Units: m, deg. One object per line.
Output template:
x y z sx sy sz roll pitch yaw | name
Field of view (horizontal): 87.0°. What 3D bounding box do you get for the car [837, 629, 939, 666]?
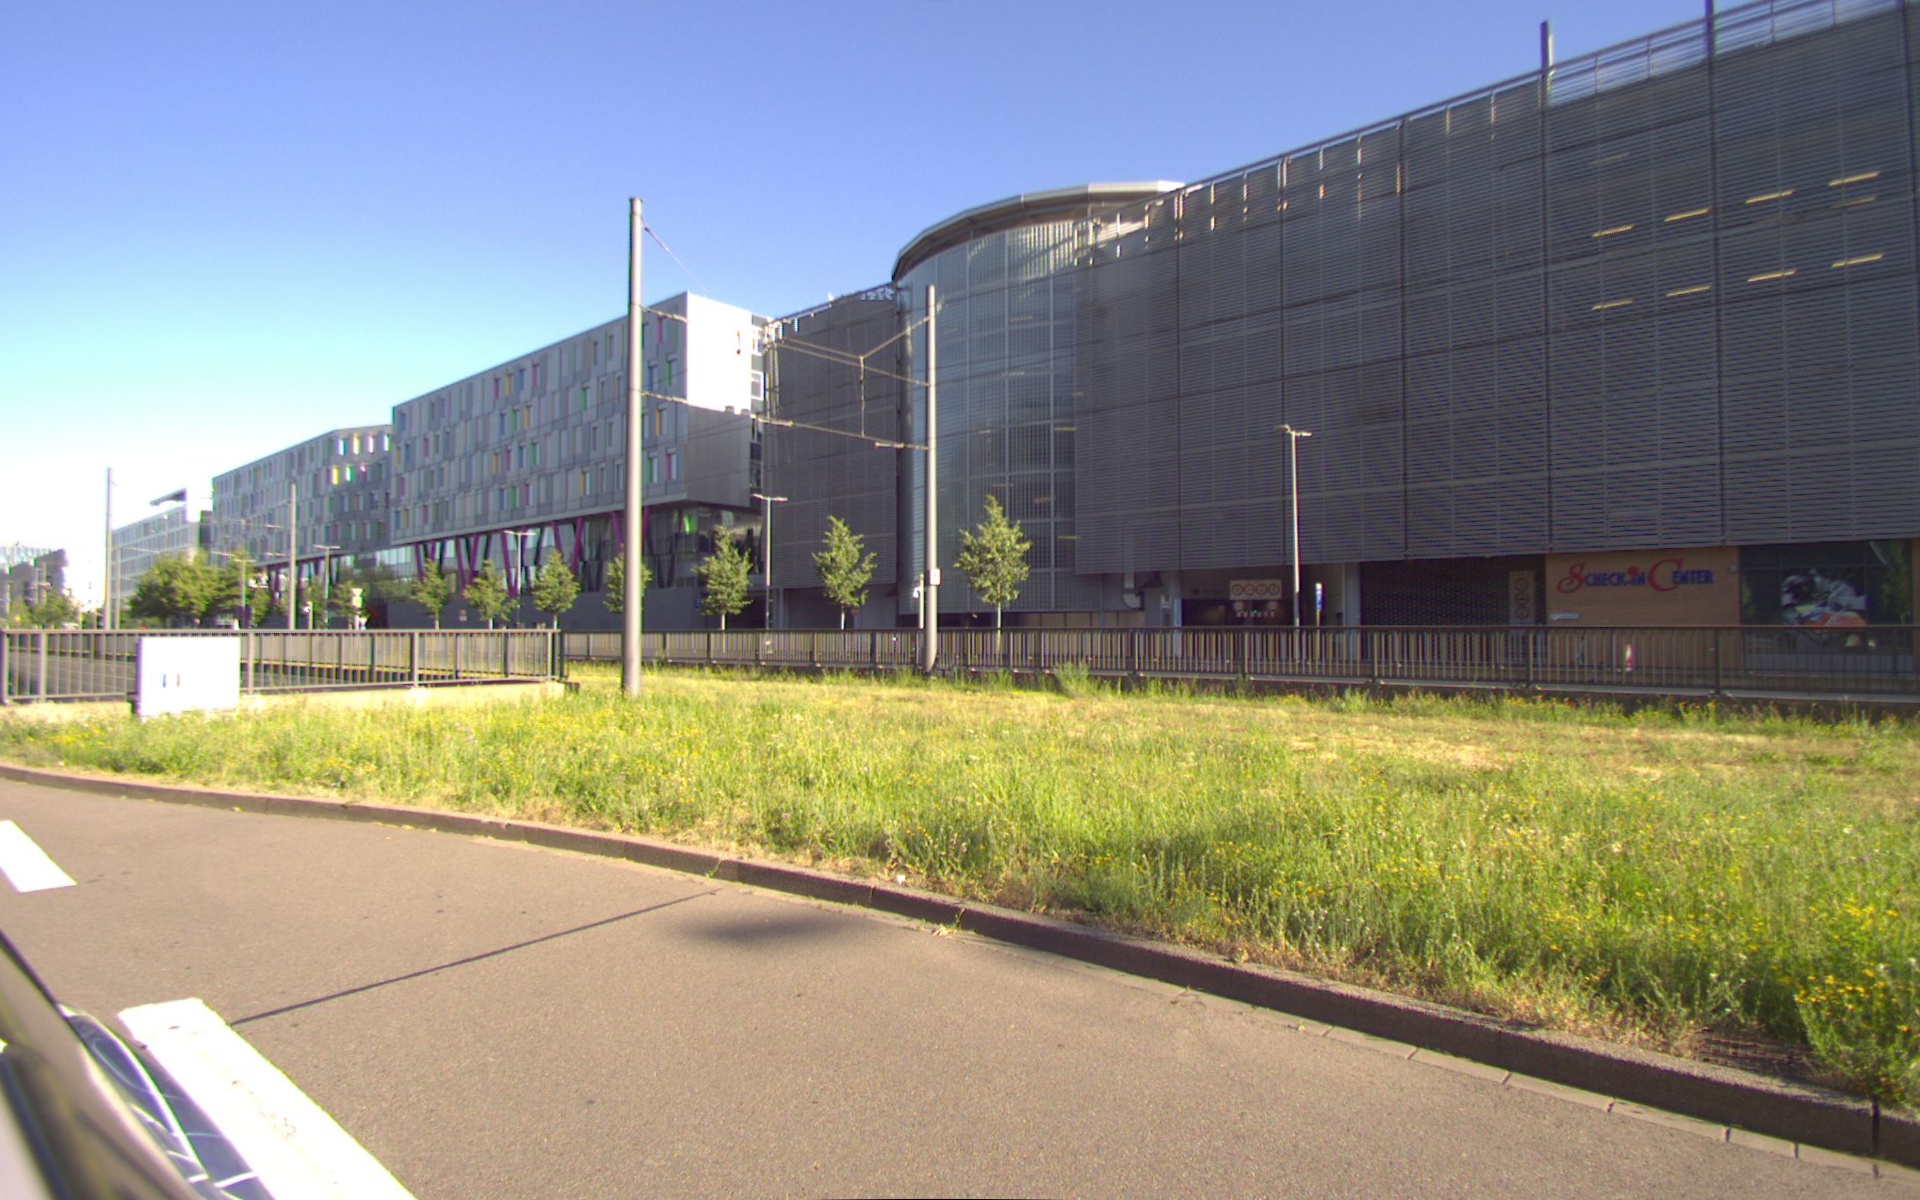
-3.111 2.007 43.350 4.242 1.512 1.972 -2 -2 42 | car
